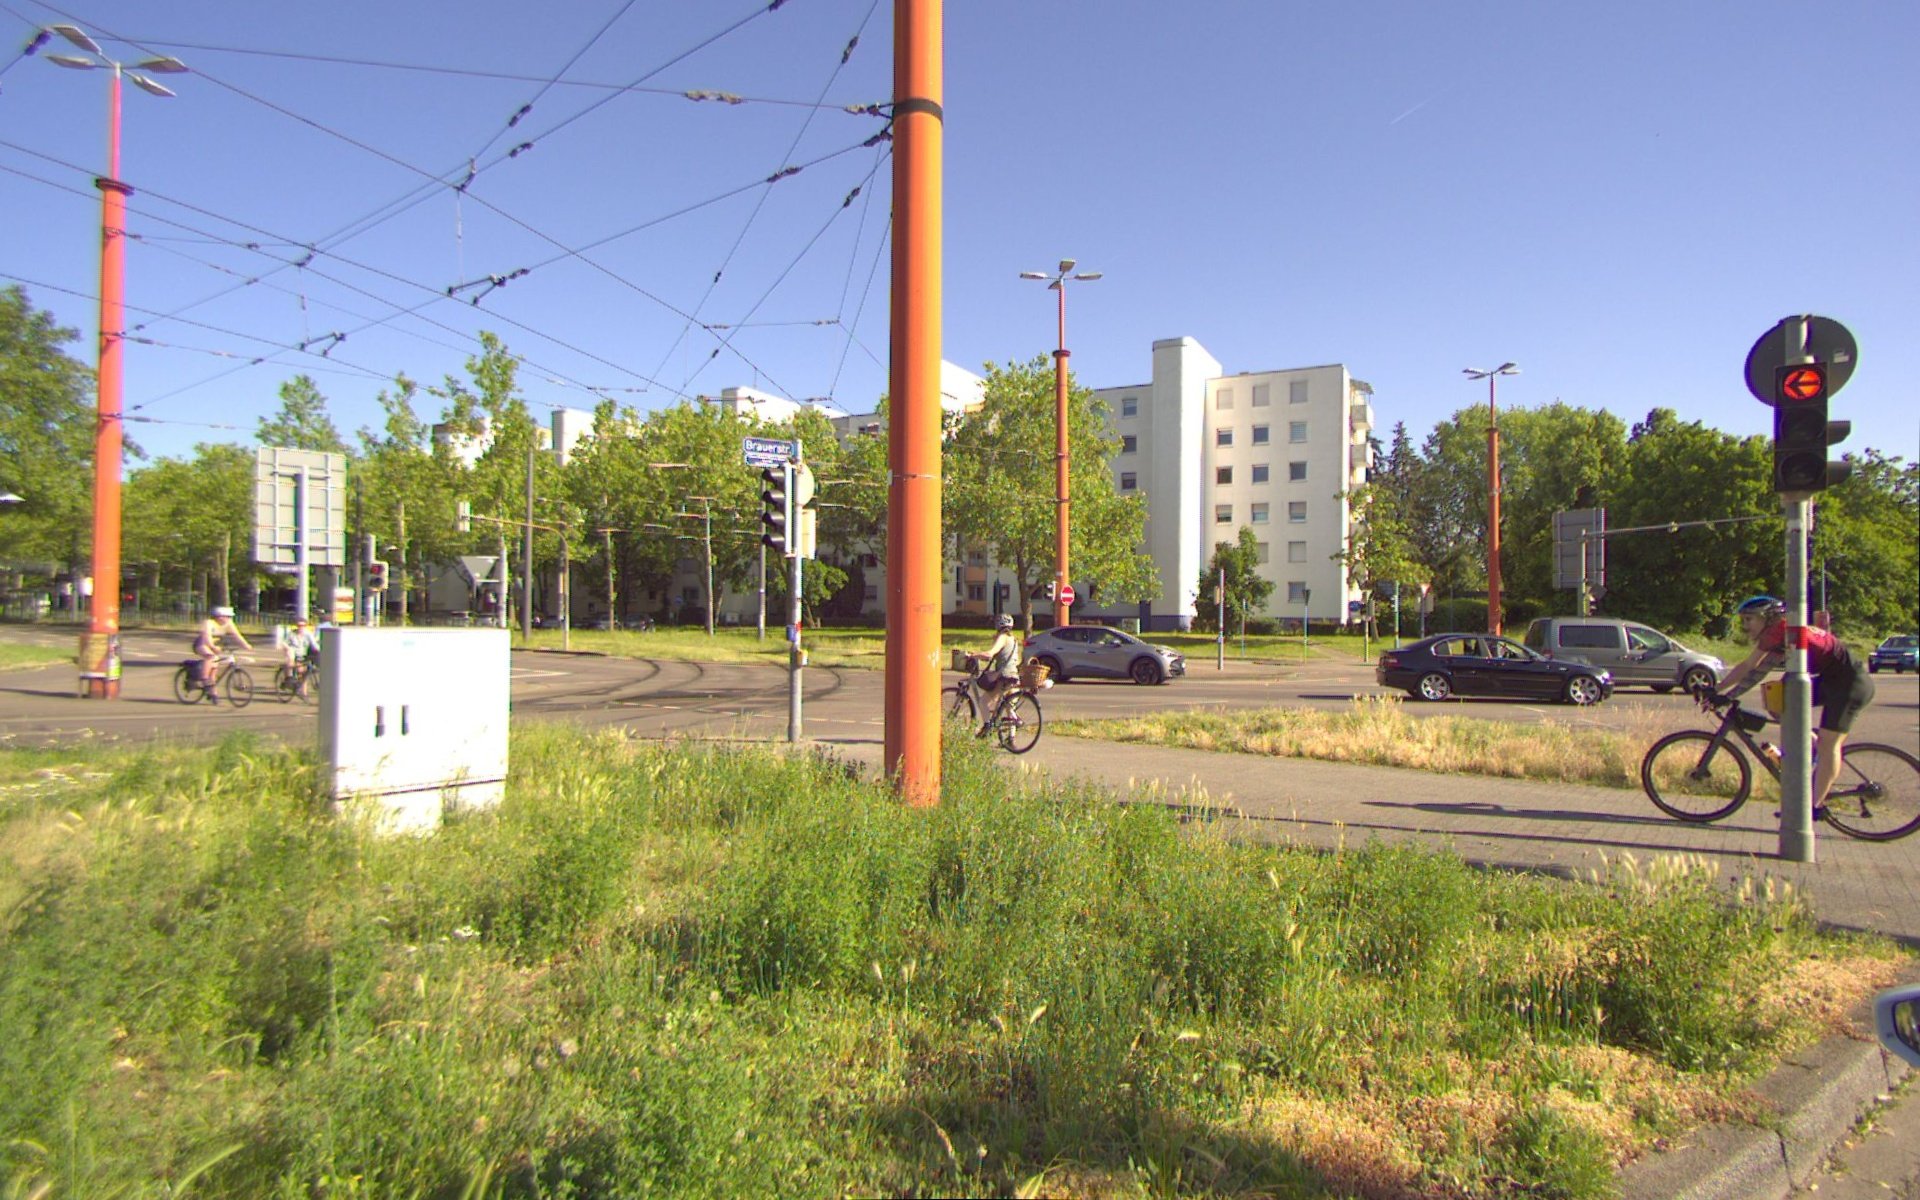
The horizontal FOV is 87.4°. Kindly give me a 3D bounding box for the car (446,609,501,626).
[{"bbox_3d":[-41.433,1.484,85.623,3.935,1.428,1.794,1,-1,-17],"label":"car"}]

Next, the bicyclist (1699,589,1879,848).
[{"bbox_3d":[6.086,0.818,7.439,0.981,1.764,0.734,0,-1,37],"label":"bicyclist"}]

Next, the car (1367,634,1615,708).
[{"bbox_3d":[10.861,1.422,20.872,4.275,1.368,1.766,0,-1,16],"label":"car"}]

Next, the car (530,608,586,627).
[{"bbox_3d":[-31.936,1.367,79.970,3.935,1.428,1.794,1,-1,-17],"label":"car"}]

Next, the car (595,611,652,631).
[{"bbox_3d":[-24.994,1.555,74.694,3.934,1.428,1.794,1,-1,-16],"label":"car"}]

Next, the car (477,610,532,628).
[{"bbox_3d":[-38.030,1.566,83.882,3.935,1.428,1.794,1,-1,-17],"label":"car"}]

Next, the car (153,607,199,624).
[{"bbox_3d":[-93.987,1.879,120.453,1.969,2.040,3.984,0,-1,38],"label":"car"}]

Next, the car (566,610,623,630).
[{"bbox_3d":[-27.576,1.485,75.918,3.934,1.428,1.794,1,-1,-16],"label":"car"}]

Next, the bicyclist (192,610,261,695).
[{"bbox_3d":[-13.928,0.988,19.092,0.752,1.565,0.732,1,-1,-1],"label":"bicyclist"}]

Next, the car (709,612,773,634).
[{"bbox_3d":[-14.540,1.550,66.840,1.770,1.428,3.987,0,-1,35],"label":"car"}]

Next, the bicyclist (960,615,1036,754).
[{"bbox_3d":[0.462,0.986,12.063,0.651,1.605,0.671,0,-1,33],"label":"bicyclist"}]

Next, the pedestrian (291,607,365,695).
[{"bbox_3d":[-13.531,1.079,21.528,0.969,1.817,0.954,0,-1,26],"label":"pedestrian"}]

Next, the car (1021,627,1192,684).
[{"bbox_3d":[4.041,1.482,27.709,4.351,1.441,1.836,0,-1,22],"label":"car"}]

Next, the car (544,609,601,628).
[{"bbox_3d":[-30.075,1.417,78.073,3.934,1.428,1.794,1,-1,-16],"label":"car"}]

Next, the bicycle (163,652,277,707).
[{"bbox_3d":[-13.971,1.499,18.984,1.612,0.974,0.685,1,-1,-1],"label":"bicycle"}]

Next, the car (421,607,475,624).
[{"bbox_3d":[-44.788,1.386,87.893,3.935,1.428,1.794,1,-1,-17],"label":"car"}]

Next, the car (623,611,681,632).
[{"bbox_3d":[-22.254,1.546,72.644,3.934,1.428,1.794,1,-1,-16],"label":"car"}]

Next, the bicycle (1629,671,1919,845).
[{"bbox_3d":[6.083,1.112,7.459,1.804,1.071,0.719,0,-1,40],"label":"bicycle"}]

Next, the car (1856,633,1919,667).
[{"bbox_3d":[37.158,1.961,39.620,3.571,1.260,1.730,1,-1,-31],"label":"car"}]

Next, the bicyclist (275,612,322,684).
[{"bbox_3d":[-13.139,0.950,19.959,0.616,1.399,0.443,1,-1,-1],"label":"bicyclist"}]

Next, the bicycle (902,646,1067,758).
[{"bbox_3d":[0.281,1.192,12.185,1.915,1.210,0.690,0,-1,33],"label":"bicycle"}]

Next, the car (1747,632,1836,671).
[{"bbox_3d":[35.211,2.140,42.514,3.891,1.552,1.752,1,-1,-31],"label":"car"}]

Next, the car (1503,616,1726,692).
[{"bbox_3d":[15.996,1.285,24.768,4.219,1.730,1.853,0,-1,11],"label":"car"}]
